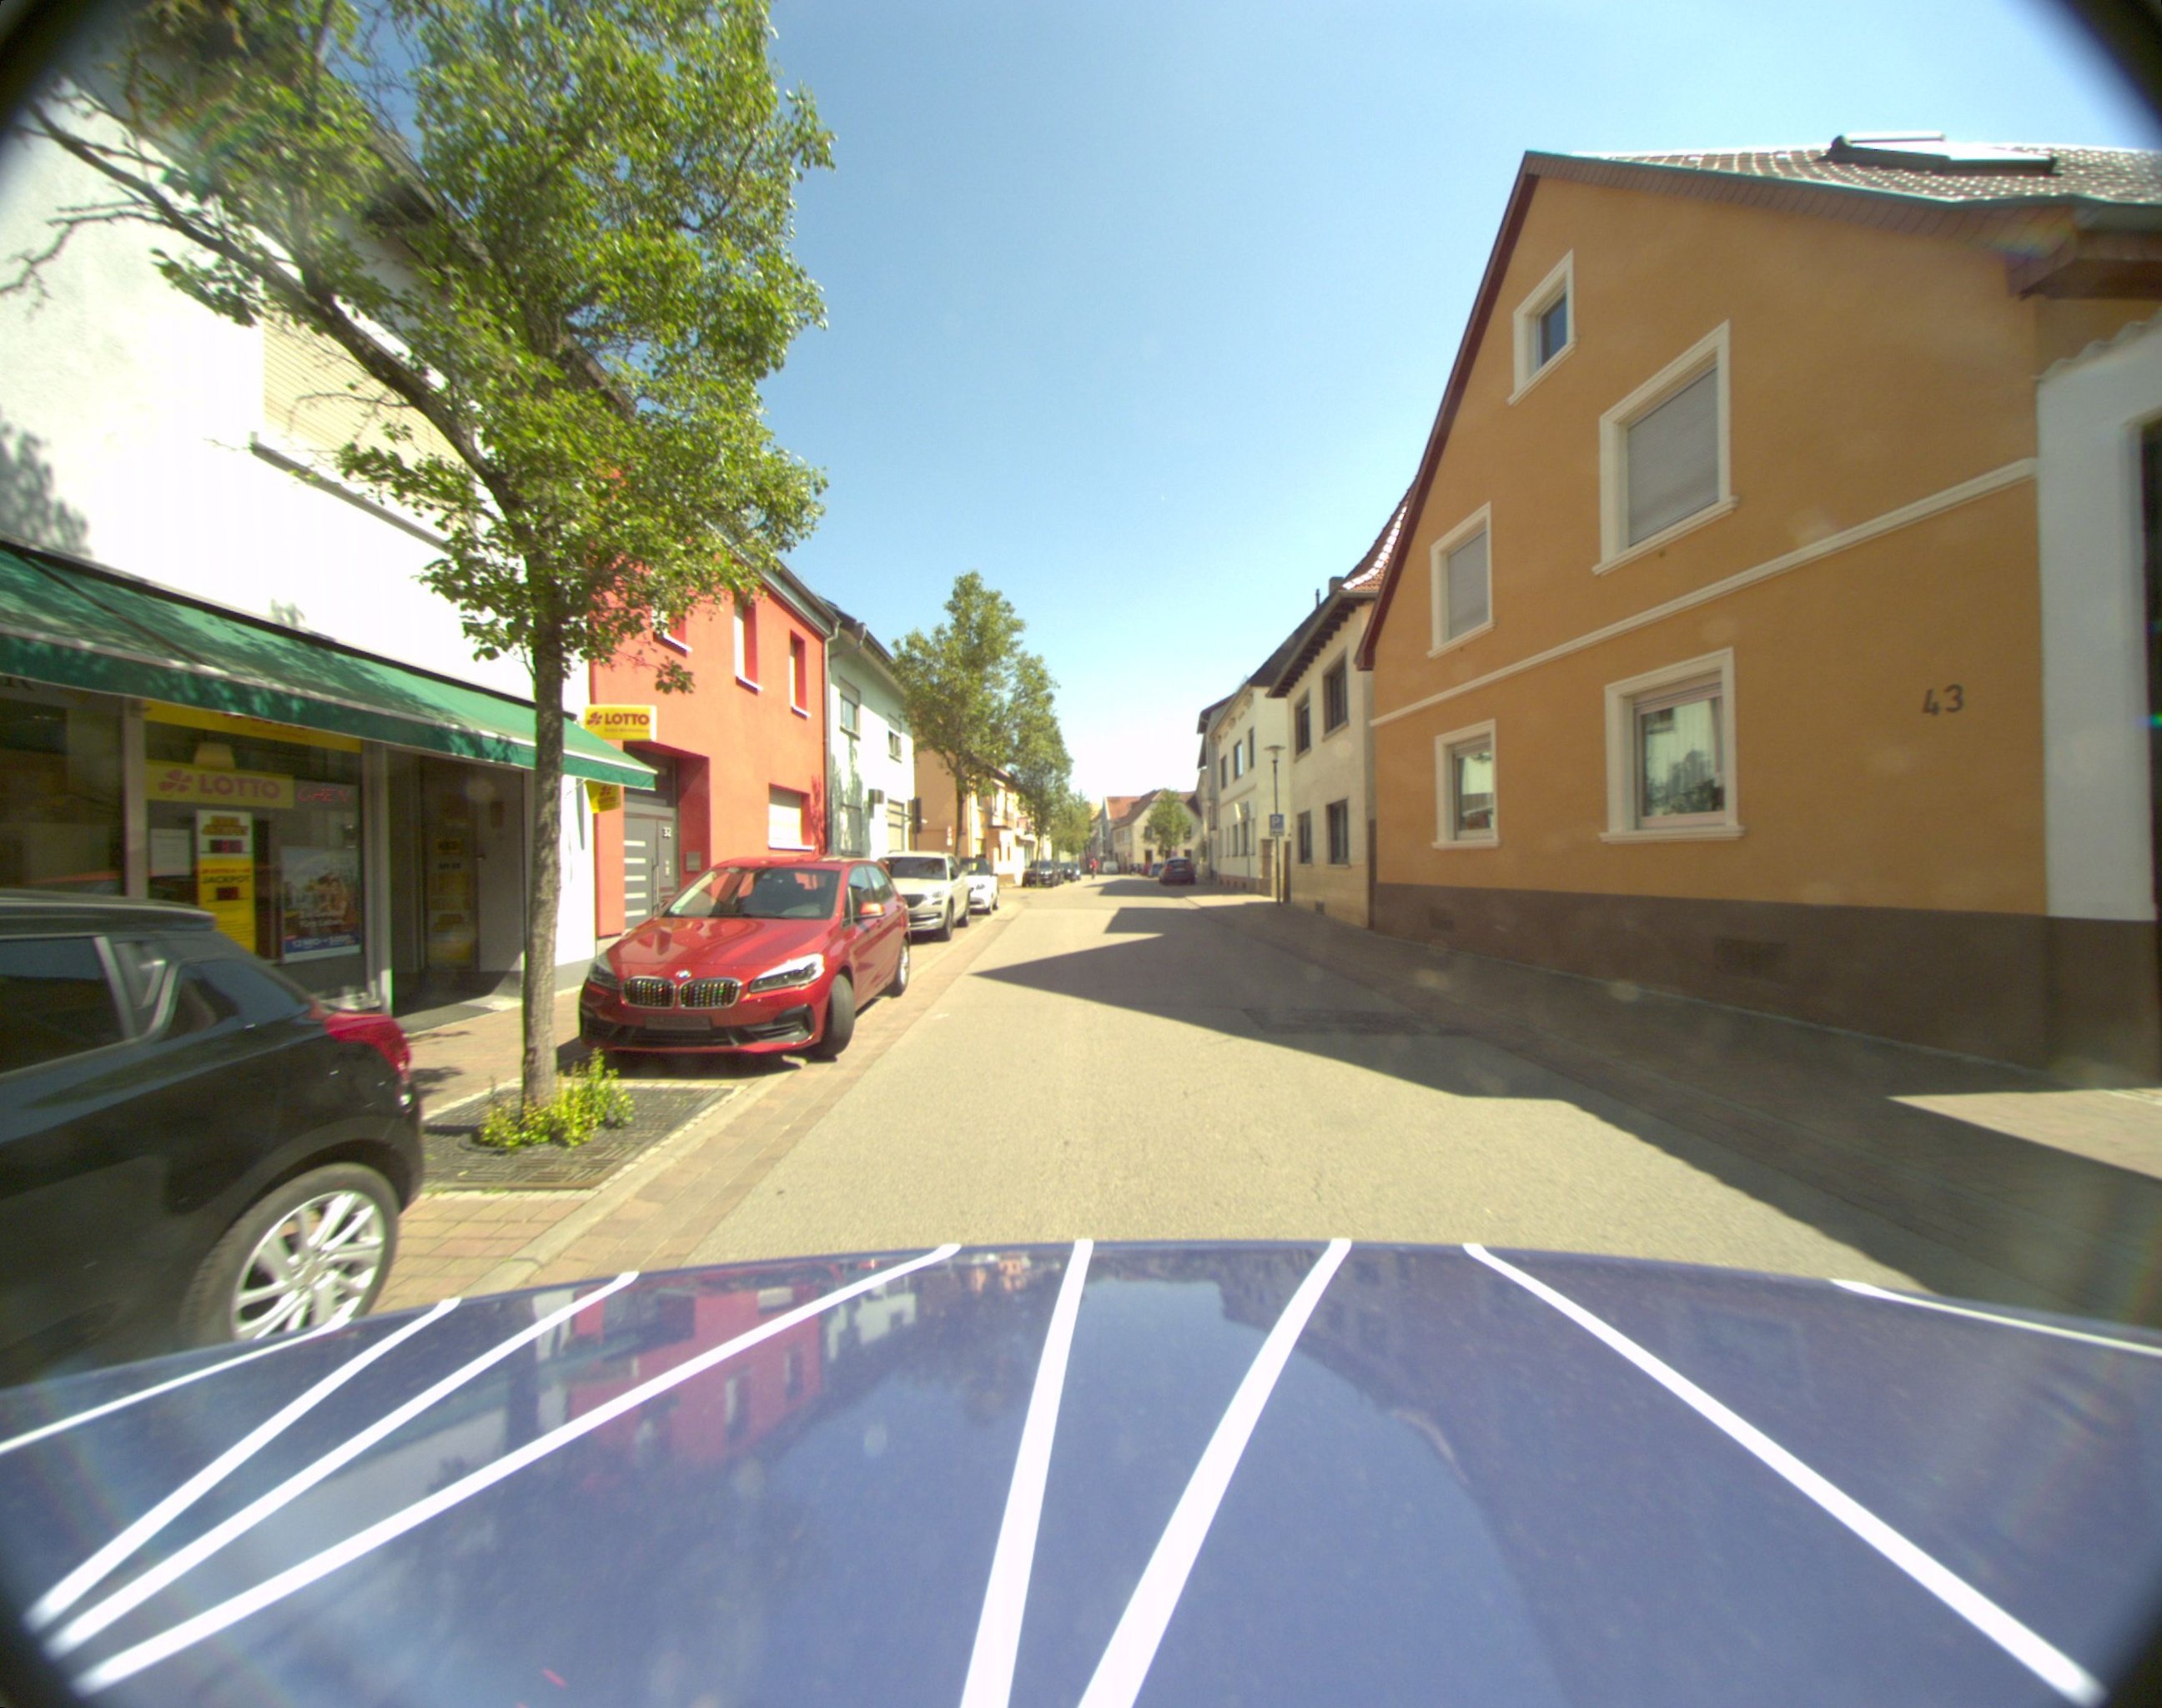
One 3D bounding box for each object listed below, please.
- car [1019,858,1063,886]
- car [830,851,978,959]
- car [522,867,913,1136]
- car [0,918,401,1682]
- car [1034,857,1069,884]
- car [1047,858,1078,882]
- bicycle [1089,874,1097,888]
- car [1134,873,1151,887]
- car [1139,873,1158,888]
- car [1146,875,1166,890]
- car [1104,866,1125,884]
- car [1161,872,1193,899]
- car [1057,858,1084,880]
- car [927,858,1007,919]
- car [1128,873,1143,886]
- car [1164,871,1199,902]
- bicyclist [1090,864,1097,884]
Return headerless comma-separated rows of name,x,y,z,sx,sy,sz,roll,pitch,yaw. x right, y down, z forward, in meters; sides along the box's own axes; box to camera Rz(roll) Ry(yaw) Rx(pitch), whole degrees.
car,-2.308,1.049,45.331,1.928,1.593,4.111,-1,-1,7
car,-3.330,0.865,15.285,1.871,1.675,4.660,-5,1,-1
car,-2.809,0.990,7.008,1.834,1.579,4.086,-2,1,-5
car,-3.124,0.997,0.621,1.741,1.504,3.735,-2,0,-1
car,-1.952,1.104,51.437,1.998,1.759,4.110,-1,-1,3
car,-1.381,1.175,57.960,1.998,1.759,4.110,-1,-1,3
bicycle,1.107,2.403,68.107,0.635,1.227,1.894,1,-1,2
car,7.207,3.042,89.281,1.571,1.452,3.801,-1,-1,-2
car,7.222,2.856,81.875,1.571,1.452,3.801,-1,-1,-2
car,7.453,2.804,75.600,1.571,1.452,3.802,1,-1,-1
car,4.699,2.916,107.820,2.443,2.223,4.959,-4,0,-3
car,6.241,2.030,49.898,1.916,1.605,3.988,-1,-1,5
car,-0.897,1.331,66.879,1.998,1.759,4.110,2,-1,3
car,-3.160,0.910,21.808,1.715,1.534,3.997,0,0,-1
car,6.980,3.273,97.158,1.571,1.452,3.801,-2,0,-1
car,5.870,1.878,44.878,1.863,1.620,4.049,-2,-1,6
bicyclist,1.110,1.758,68.132,0.645,1.766,0.722,1,-1,2
